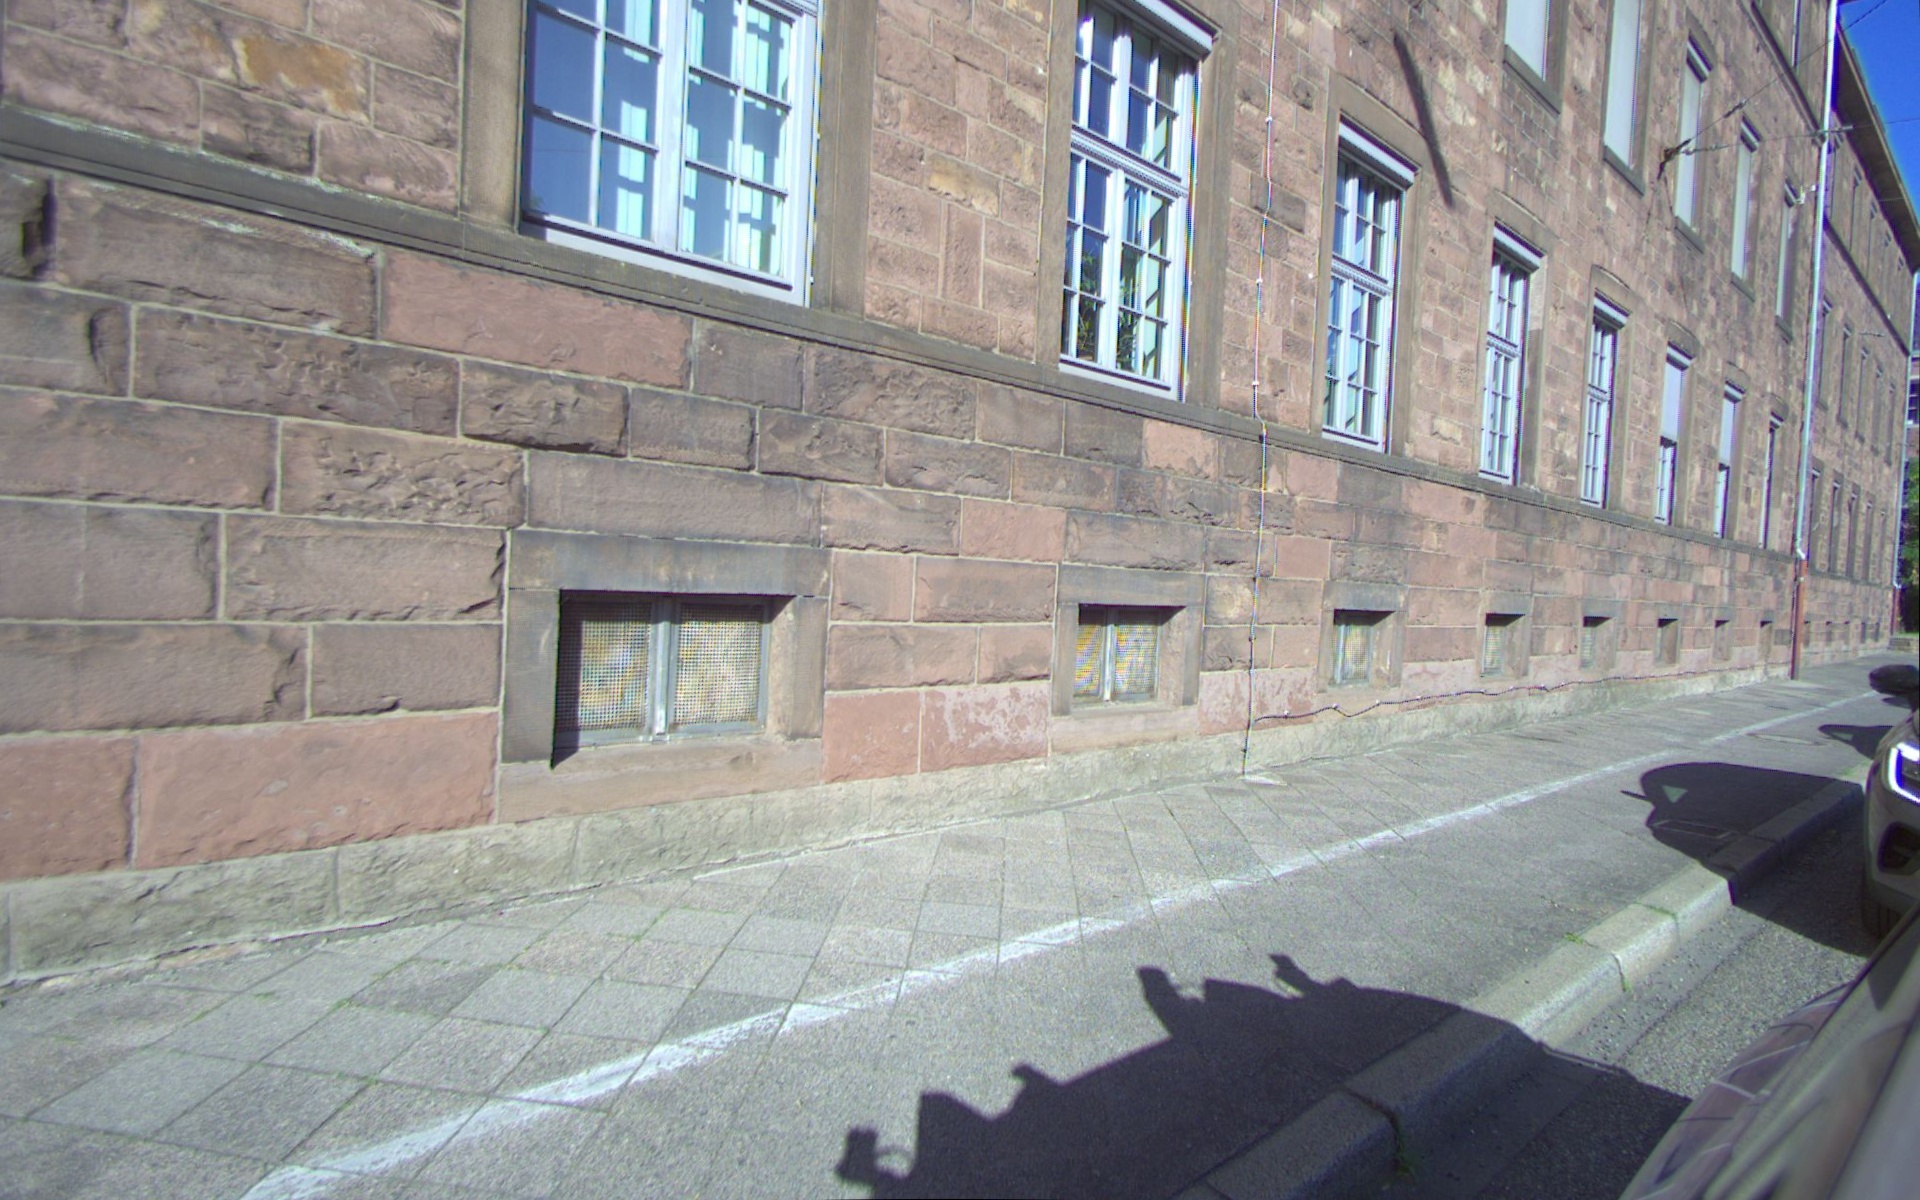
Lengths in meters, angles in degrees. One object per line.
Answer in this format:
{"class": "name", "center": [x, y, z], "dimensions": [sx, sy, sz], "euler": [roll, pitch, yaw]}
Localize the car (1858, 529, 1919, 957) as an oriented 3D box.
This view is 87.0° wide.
{"class": "car", "center": [5.502, 0.581, 4.582], "dimensions": [3.735, 1.624, 1.793], "euler": [1, 1, -43]}
